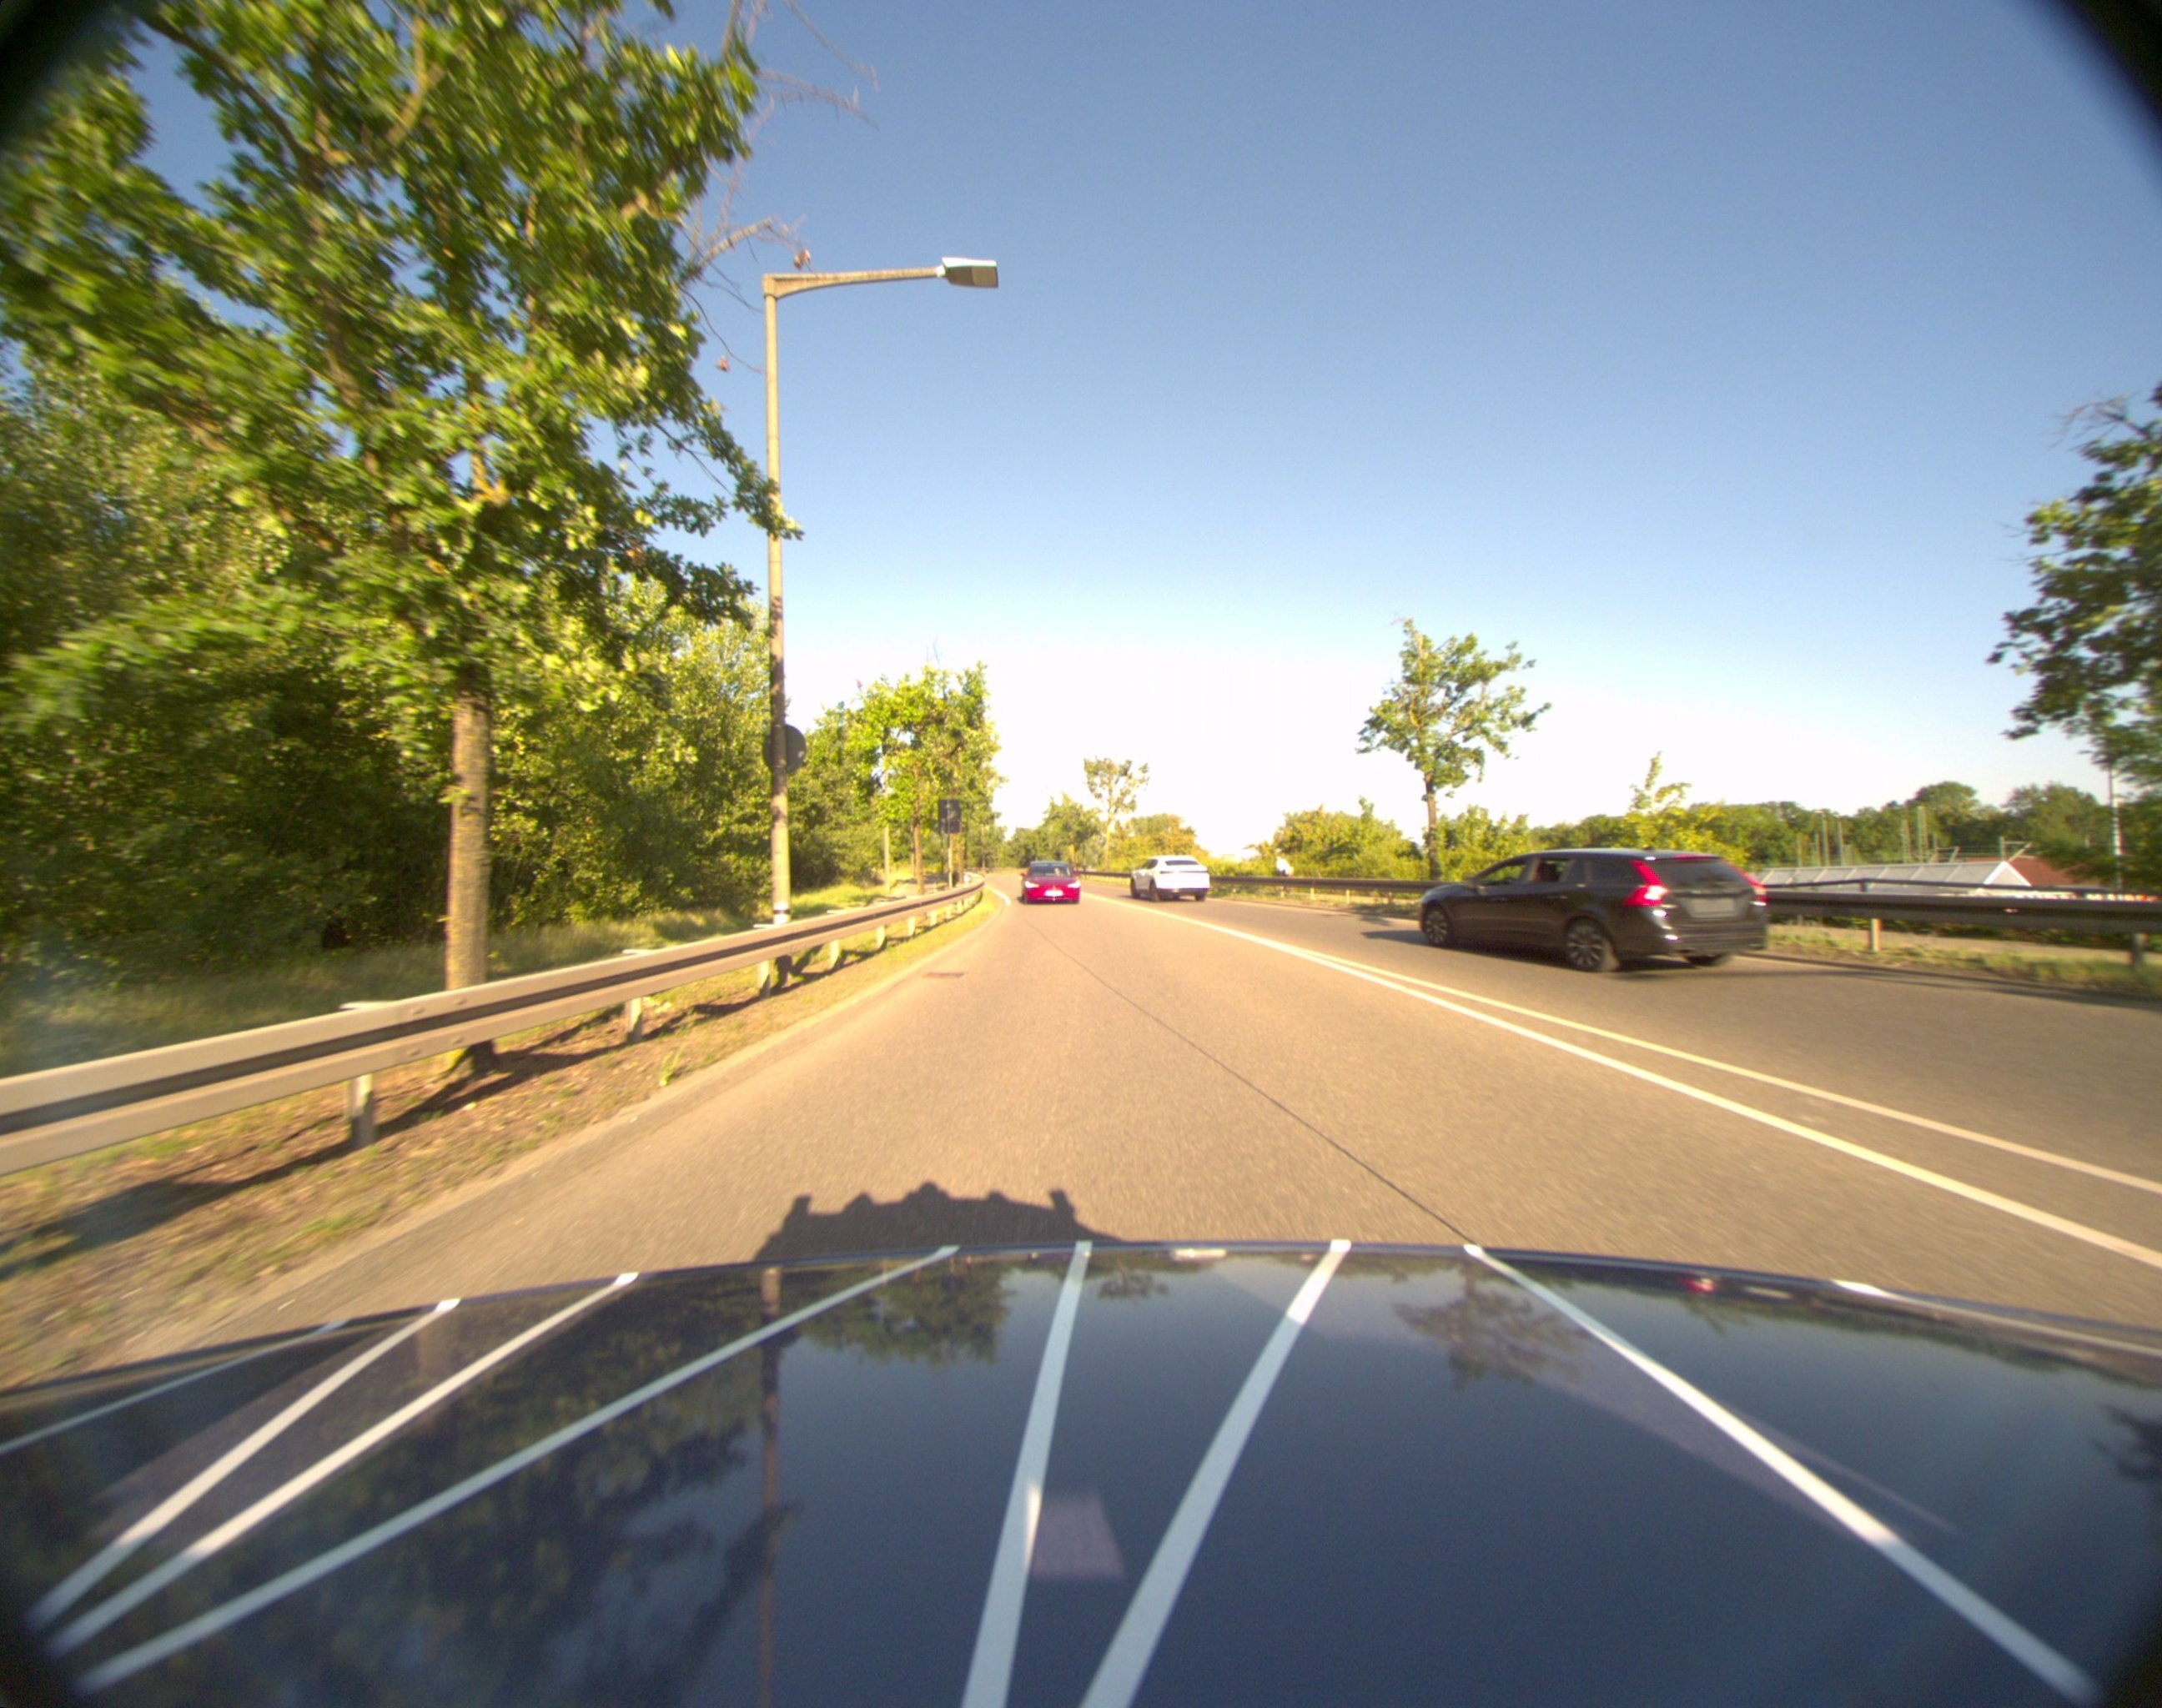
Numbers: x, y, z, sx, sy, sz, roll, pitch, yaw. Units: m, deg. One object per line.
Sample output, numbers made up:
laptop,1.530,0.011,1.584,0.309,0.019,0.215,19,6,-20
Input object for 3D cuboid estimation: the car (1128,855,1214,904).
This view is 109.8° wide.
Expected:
car,3.131,0.859,27.474,1.834,1.580,4.644,-1,0,-10

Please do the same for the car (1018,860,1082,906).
car,-1.175,0.956,26.505,1.783,1.433,4.356,1,0,-8

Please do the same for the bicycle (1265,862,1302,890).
bicycle,8.273,0.898,31.134,0.584,1.070,2.311,1,0,-8

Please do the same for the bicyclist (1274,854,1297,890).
bicyclist,8.311,0.718,30.949,0.601,1.450,0.828,1,0,-8

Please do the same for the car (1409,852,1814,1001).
car,6.451,0.753,10.002,1.778,1.457,4.380,-2,0,-10
